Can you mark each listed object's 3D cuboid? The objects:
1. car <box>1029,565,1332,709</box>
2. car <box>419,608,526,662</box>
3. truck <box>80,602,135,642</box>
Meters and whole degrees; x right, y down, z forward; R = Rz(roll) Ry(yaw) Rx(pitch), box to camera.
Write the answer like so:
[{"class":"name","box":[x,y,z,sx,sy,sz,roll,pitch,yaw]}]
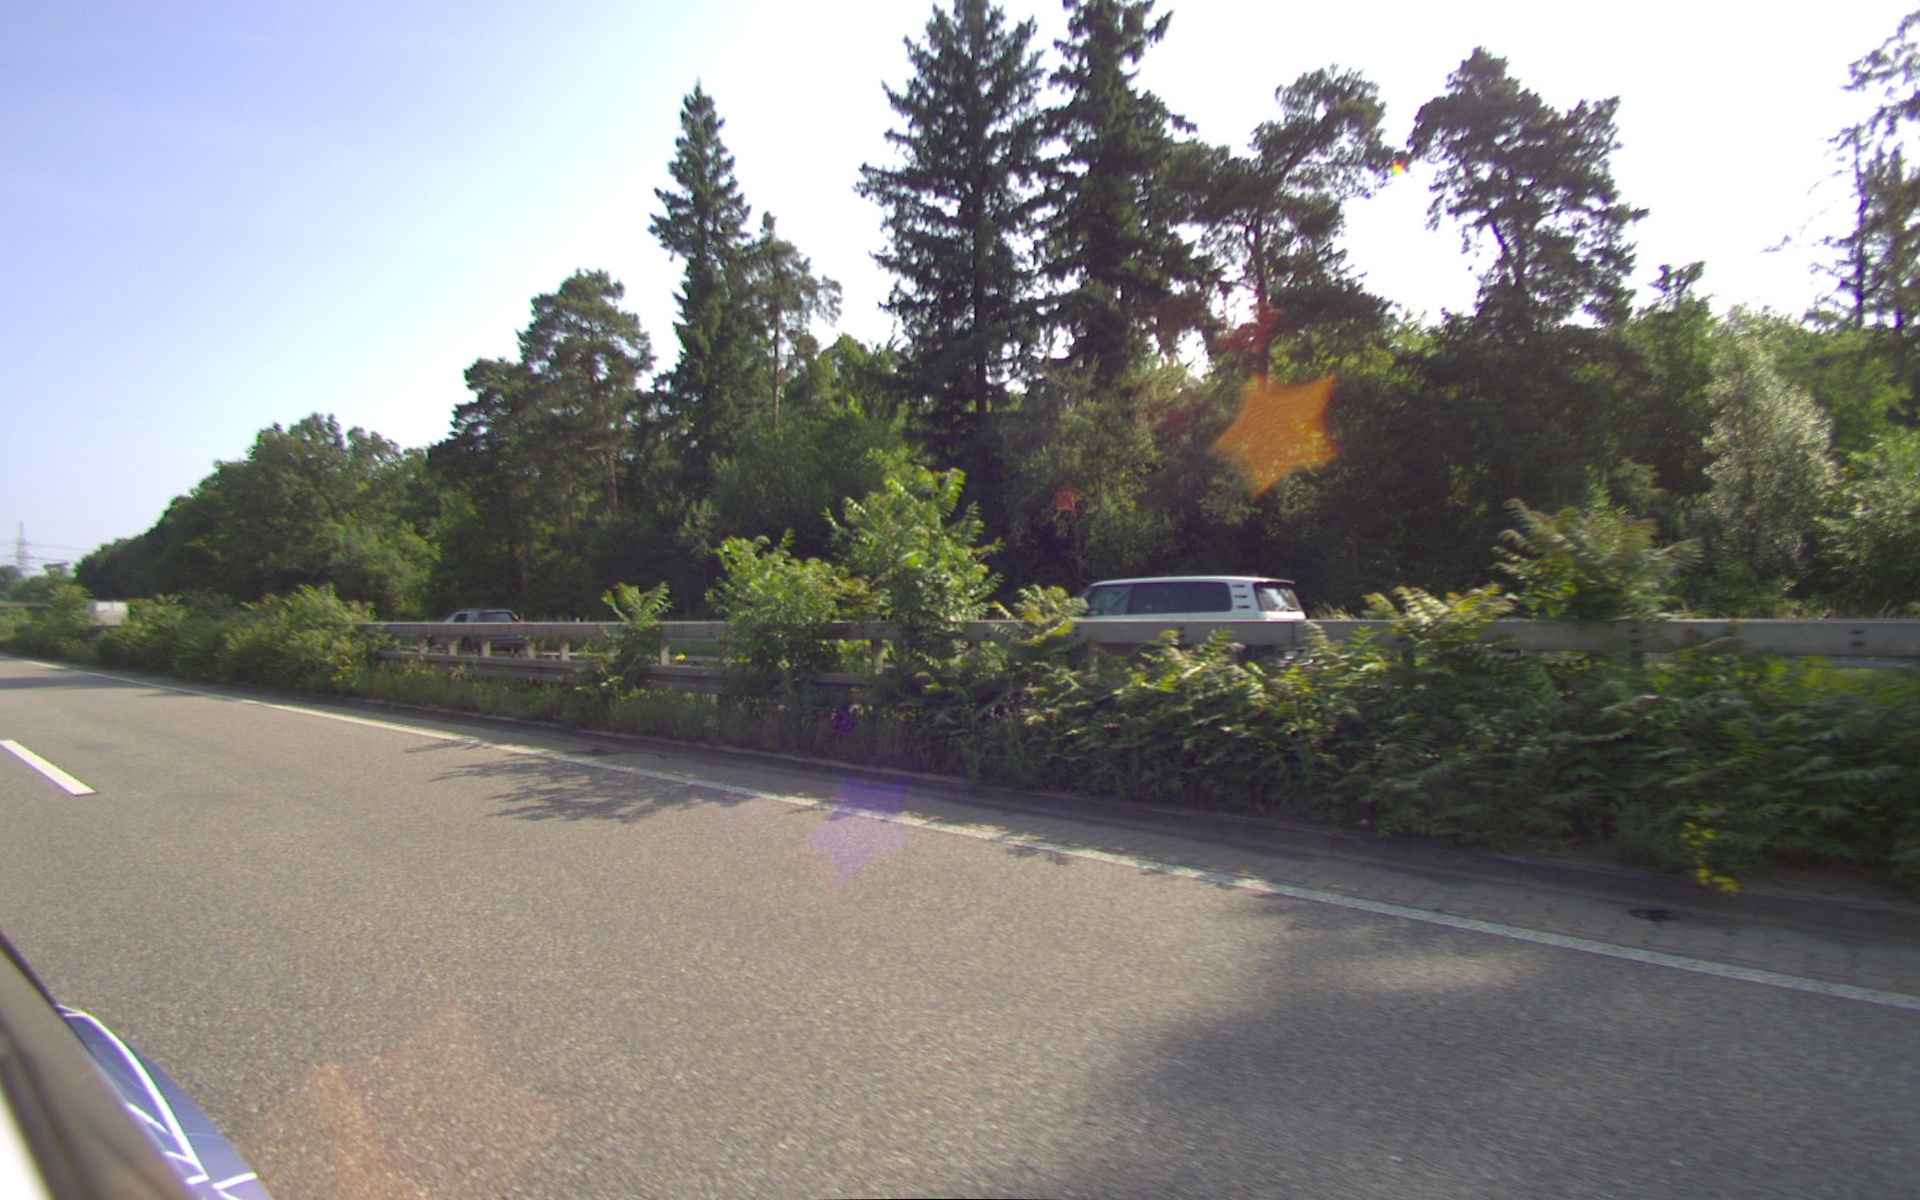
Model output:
[{"class":"car","box":[3.457,0.542,16.433,4.492,2.029,1.796,-1,0,42]},{"class":"car","box":[-16.804,1.164,34.825,4.298,1.695,1.796,-1,0,42]},{"class":"truck","box":[-71.659,1.866,85.038,7.224,3.201,2.436,-2,-2,41]}]
